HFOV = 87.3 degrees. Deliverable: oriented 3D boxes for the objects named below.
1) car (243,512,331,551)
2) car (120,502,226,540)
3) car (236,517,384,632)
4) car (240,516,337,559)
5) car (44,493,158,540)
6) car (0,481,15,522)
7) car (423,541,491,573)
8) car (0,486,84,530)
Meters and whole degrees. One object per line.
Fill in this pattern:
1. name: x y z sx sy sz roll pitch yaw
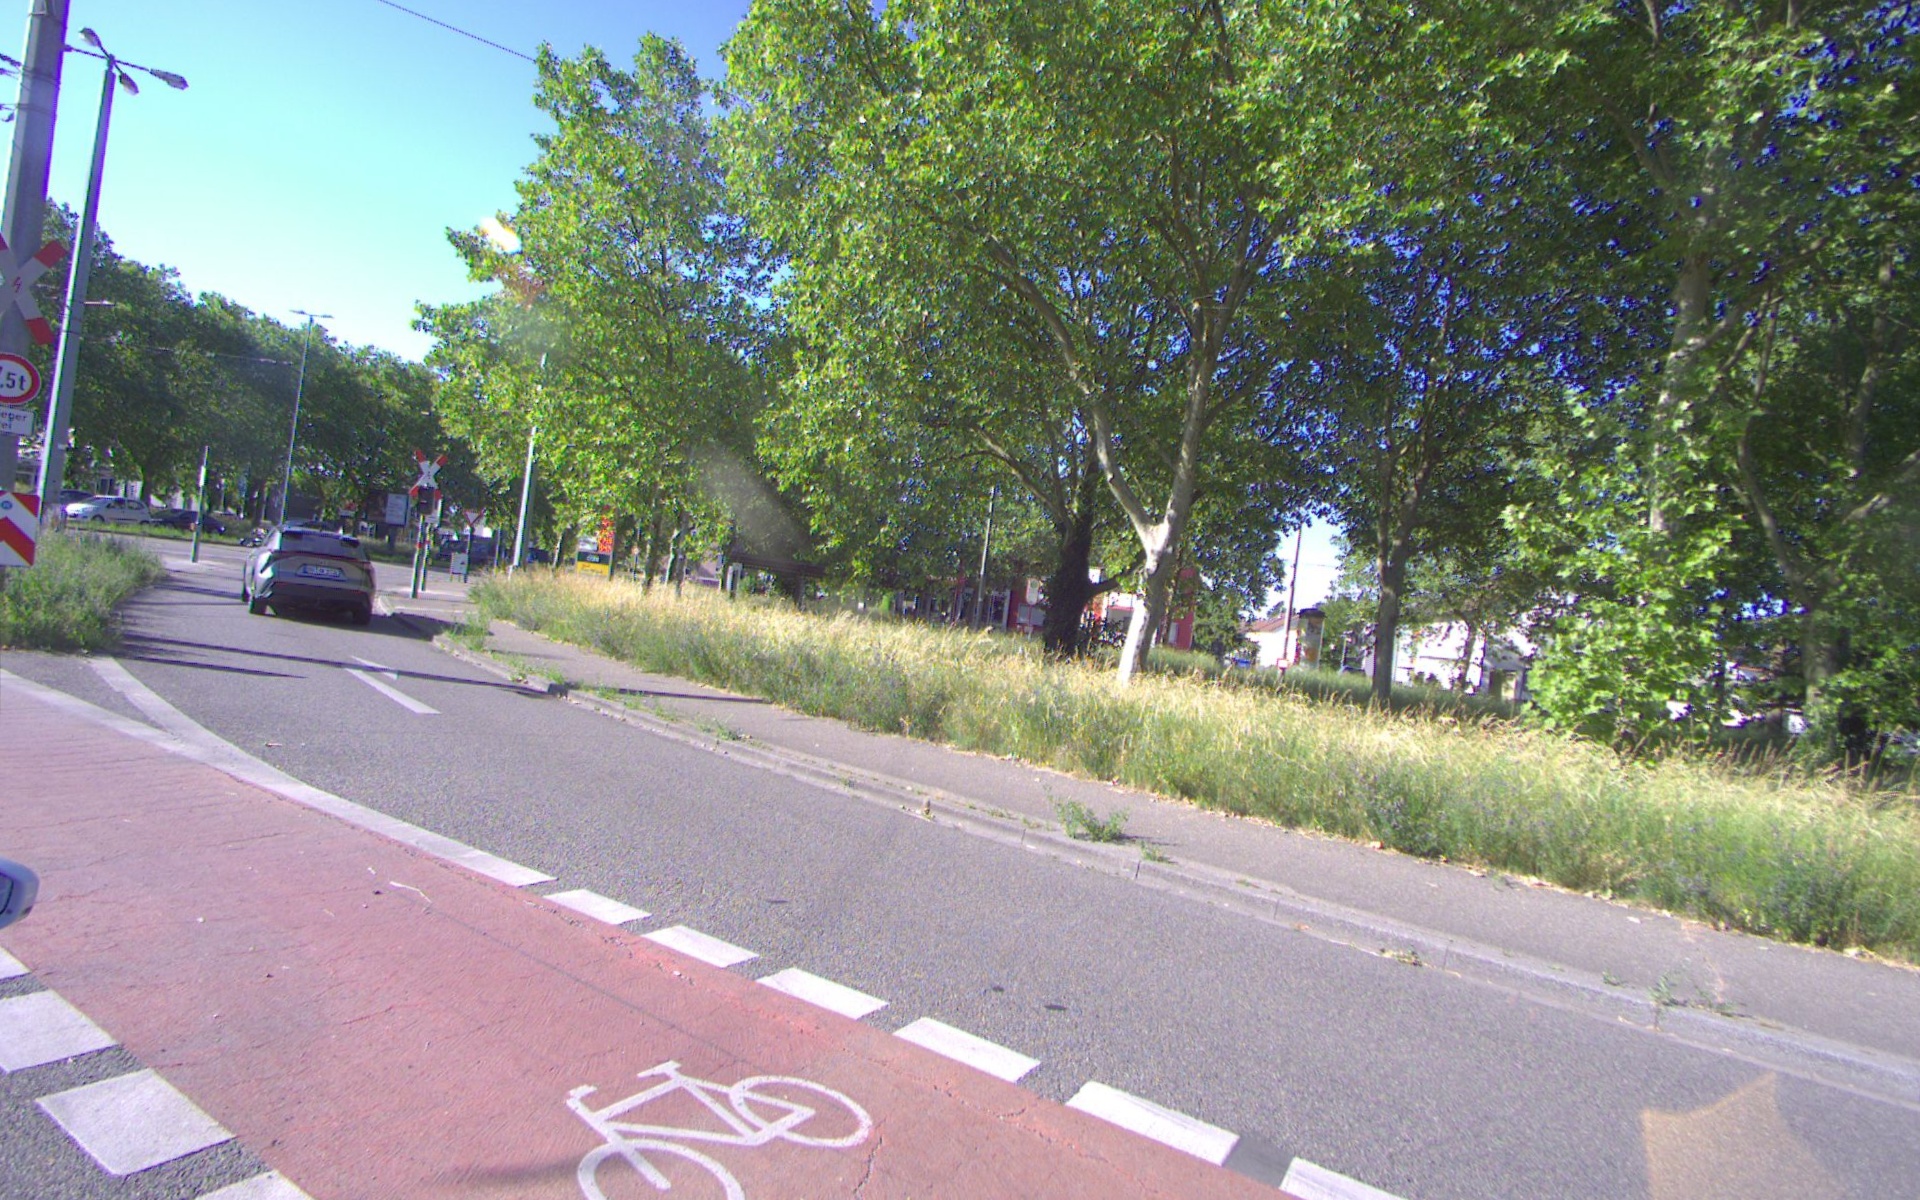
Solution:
1. car: -42.058 -4.238 62.998 1.873 1.701 4.781 7 -2 4
2. car: -43.201 -4.307 55.358 1.898 1.425 4.572 7 -1 5
3. car: -12.213 -0.526 18.811 1.813 1.724 3.732 9 -1 -38
4. car: -36.306 -3.343 54.573 1.885 1.732 4.497 7 -1 4
5. car: -40.580 -3.922 47.621 1.680 1.620 3.862 7 -1 7
6. car: -41.094 -4.286 40.521 1.782 1.620 4.093 7 -1 7
7. car: -43.341 -3.679 86.760 2.091 2.095 5.123 8 -1 18
8. car: -44.346 -4.410 47.882 1.681 1.620 3.861 7 -1 3
